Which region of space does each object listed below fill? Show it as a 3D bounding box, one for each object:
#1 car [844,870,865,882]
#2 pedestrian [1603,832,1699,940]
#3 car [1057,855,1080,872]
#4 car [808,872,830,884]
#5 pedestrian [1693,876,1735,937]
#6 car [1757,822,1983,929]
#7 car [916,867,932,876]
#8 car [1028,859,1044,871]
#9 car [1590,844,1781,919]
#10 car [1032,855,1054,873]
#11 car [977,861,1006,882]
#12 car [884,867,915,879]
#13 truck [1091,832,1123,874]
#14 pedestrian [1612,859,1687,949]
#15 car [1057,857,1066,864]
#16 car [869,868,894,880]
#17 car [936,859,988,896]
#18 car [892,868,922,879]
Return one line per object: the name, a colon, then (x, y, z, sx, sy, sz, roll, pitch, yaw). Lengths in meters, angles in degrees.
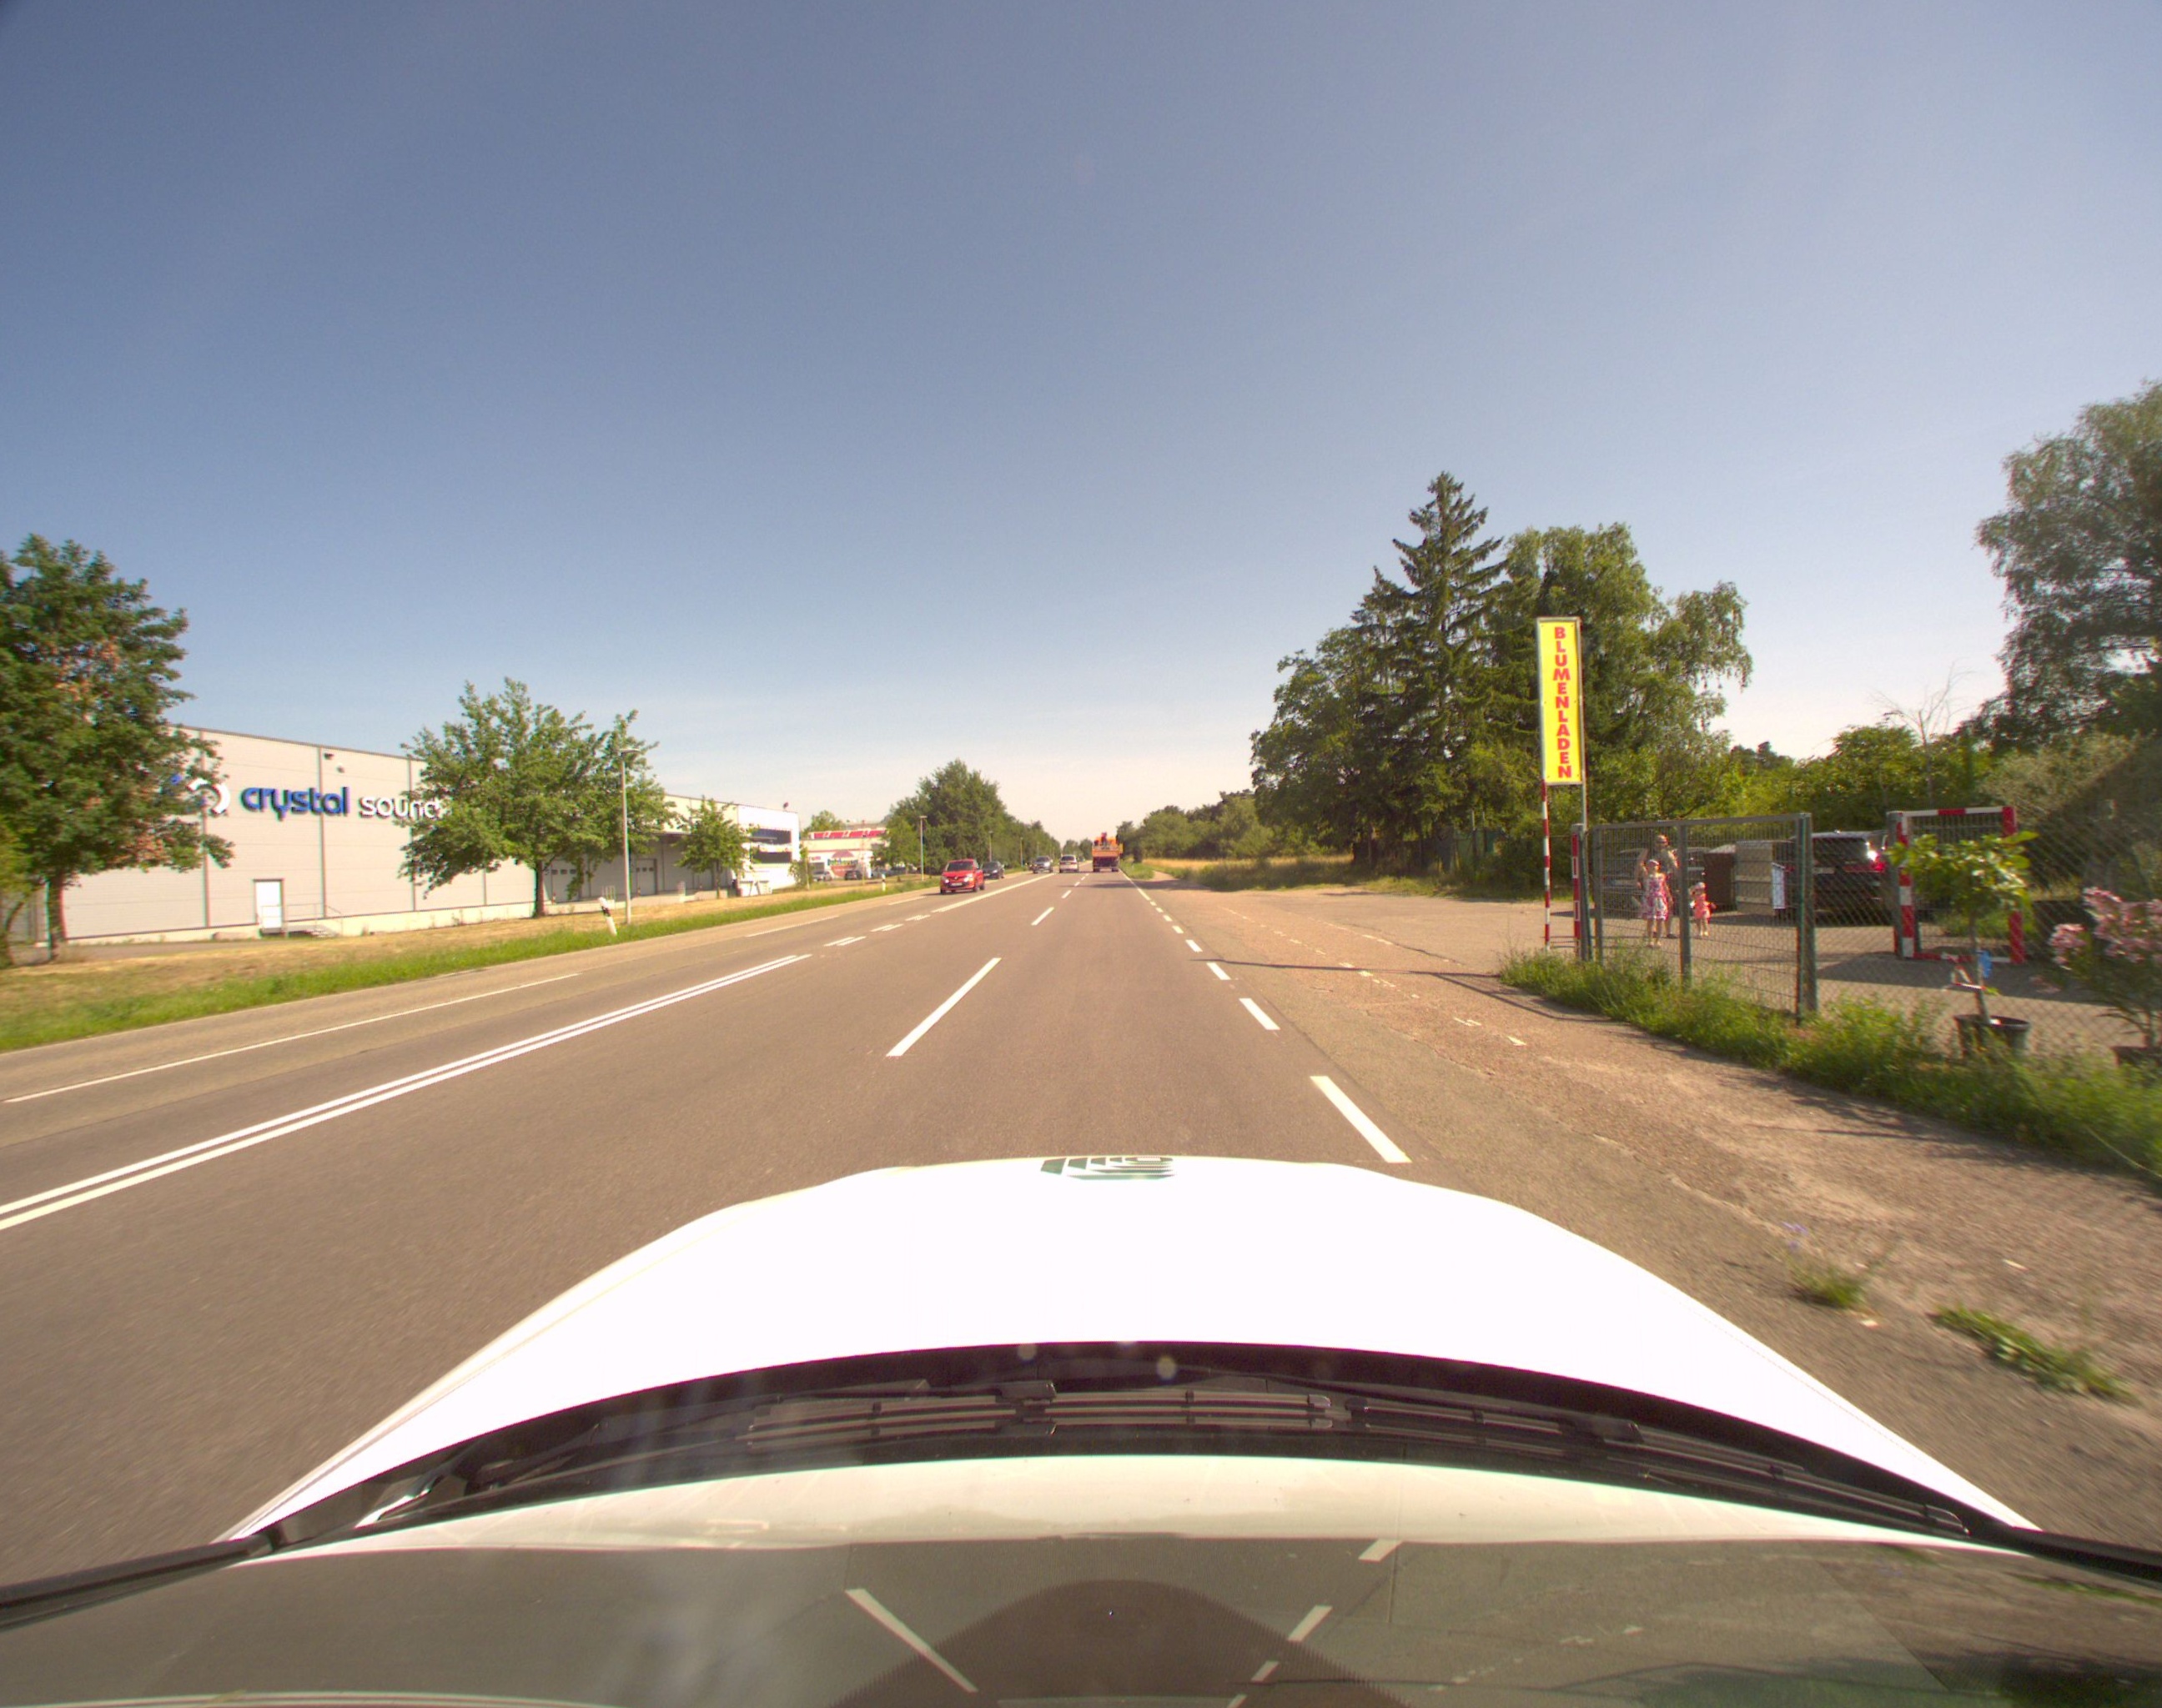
car: (-30.250, 2.963, 109.072, 1.630, 1.390, 3.723, -3, -1, 1)
pedestrian: (9.952, 0.536, 14.232, 0.941, 1.786, 1.087, -2, -1, -38)
car: (-1.157, 0.884, 77.062, 1.987, 1.583, 4.000, -2, 0, 0)
car: (-35.108, 3.205, 109.110, 1.630, 1.410, 3.723, -3, -1, 1)
pedestrian: (10.634, 0.871, 13.685, 0.340, 0.984, 0.465, -2, -1, -38)
car: (15.496, 0.342, 15.962, 4.475, 1.803, 1.847, -2, 0, -28)
car: (-26.934, 3.027, 139.688, 1.782, 1.349, 4.661, -4, -1, -1)
car: (-6.073, 1.512, 110.535, 1.722, 1.561, 4.216, 0, 0, 1)
car: (13.780, 0.559, 18.513, 4.475, 1.430, 1.700, -2, 0, -28)
car: (-3.818, 0.981, 82.471, 1.765, 1.714, 4.571, -4, 0, 2)
car: (-7.260, 1.407, 66.573, 1.646, 1.480, 4.741, -4, 0, 1)
car: (-26.612, 2.822, 119.580, 3.973, 1.501, 1.758, -3, -1, 1)
truck: (2.454, -0.088, 79.231, 2.863, 3.880, 7.397, 0, -1, -1)
pedestrian: (8.978, 0.763, 12.859, 0.829, 1.338, 0.716, -2, -1, -38)
car: (-4.177, 1.370, 172.822, 1.653, 1.437, 3.736, -4, -1, 1)
car: (-28.511, 2.869, 116.414, 1.750, 1.501, 3.951, -2, -1, -42)
car: (-5.561, 1.067, 38.460, 1.644, 1.497, 3.845, -5, 0, 1)
car: (-26.393, 2.944, 123.670, 3.973, 1.501, 1.758, -3, -1, 1)
